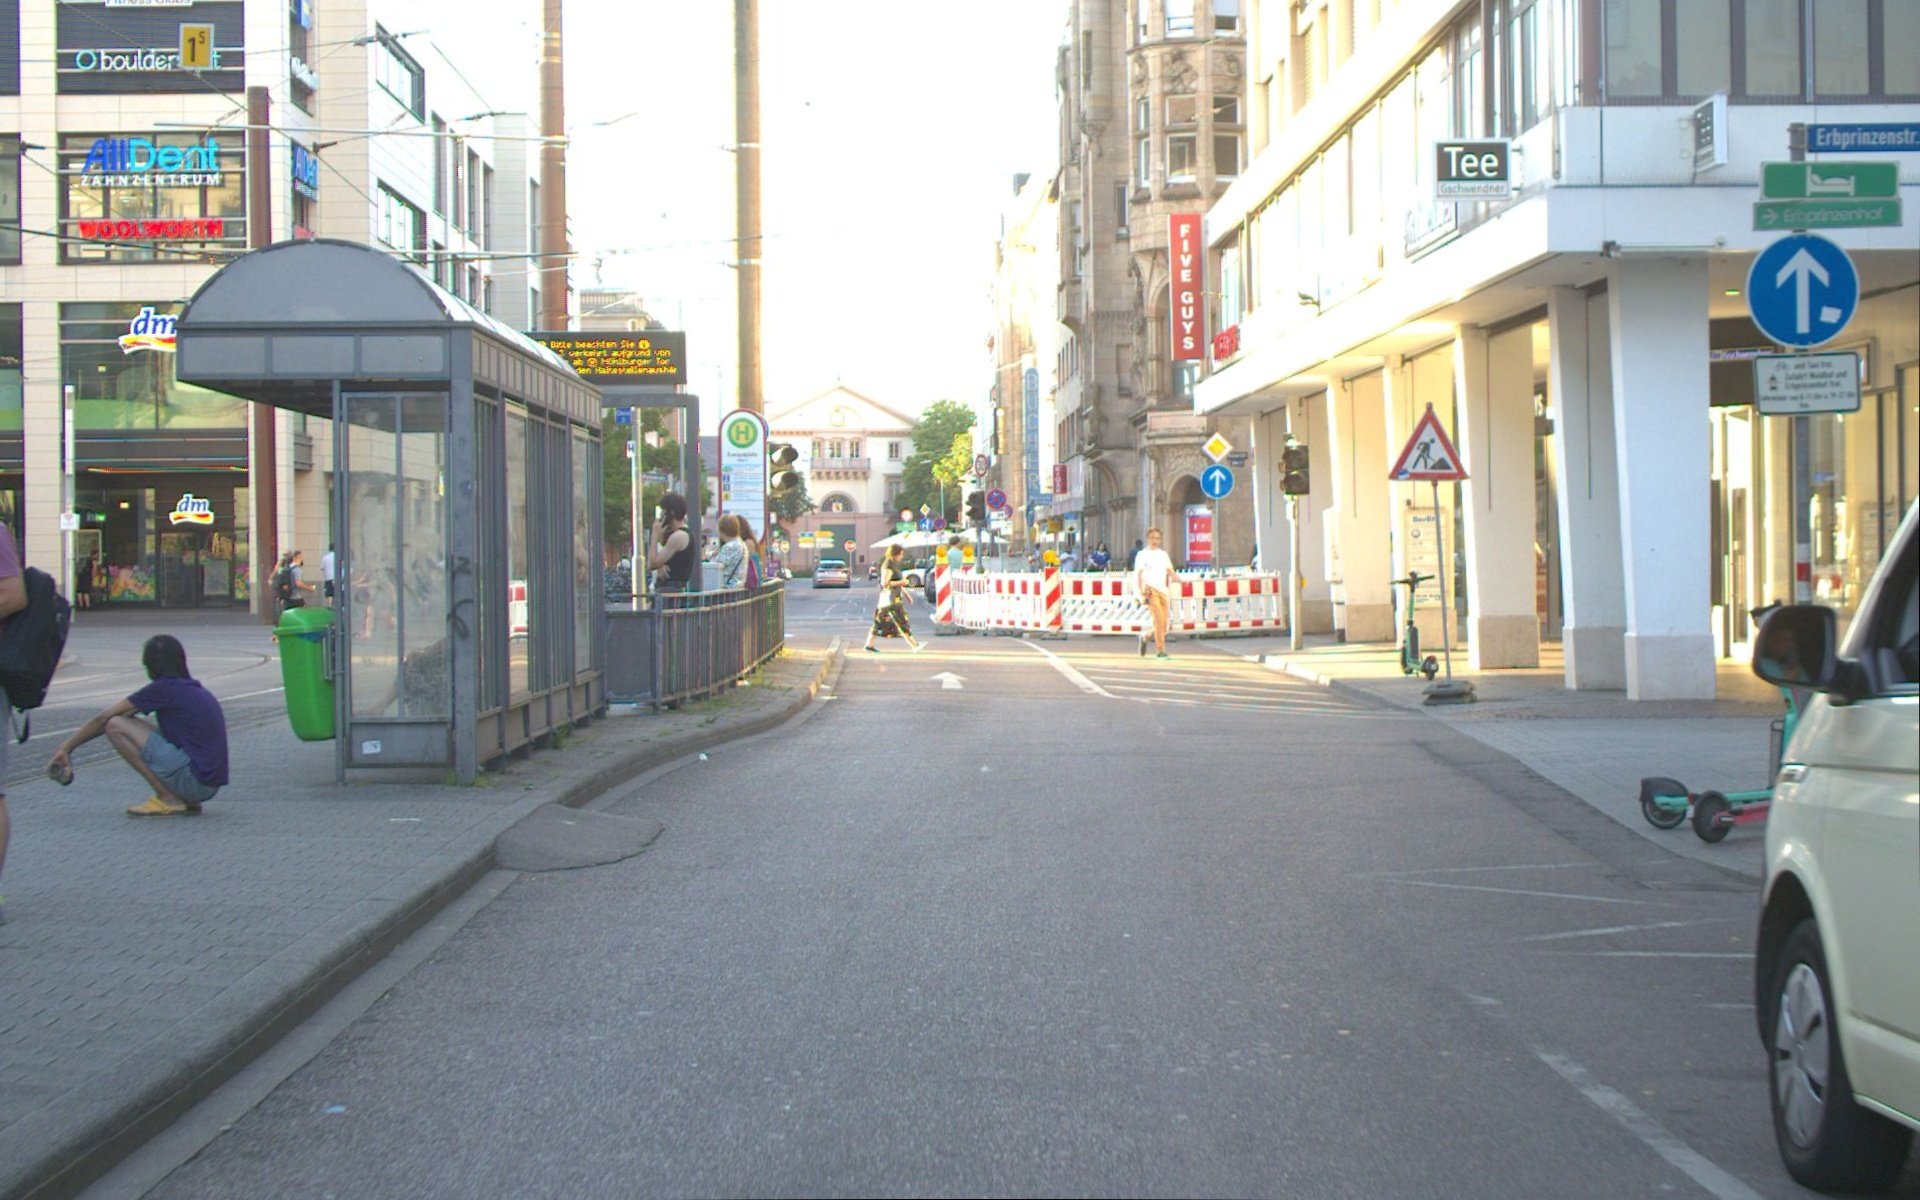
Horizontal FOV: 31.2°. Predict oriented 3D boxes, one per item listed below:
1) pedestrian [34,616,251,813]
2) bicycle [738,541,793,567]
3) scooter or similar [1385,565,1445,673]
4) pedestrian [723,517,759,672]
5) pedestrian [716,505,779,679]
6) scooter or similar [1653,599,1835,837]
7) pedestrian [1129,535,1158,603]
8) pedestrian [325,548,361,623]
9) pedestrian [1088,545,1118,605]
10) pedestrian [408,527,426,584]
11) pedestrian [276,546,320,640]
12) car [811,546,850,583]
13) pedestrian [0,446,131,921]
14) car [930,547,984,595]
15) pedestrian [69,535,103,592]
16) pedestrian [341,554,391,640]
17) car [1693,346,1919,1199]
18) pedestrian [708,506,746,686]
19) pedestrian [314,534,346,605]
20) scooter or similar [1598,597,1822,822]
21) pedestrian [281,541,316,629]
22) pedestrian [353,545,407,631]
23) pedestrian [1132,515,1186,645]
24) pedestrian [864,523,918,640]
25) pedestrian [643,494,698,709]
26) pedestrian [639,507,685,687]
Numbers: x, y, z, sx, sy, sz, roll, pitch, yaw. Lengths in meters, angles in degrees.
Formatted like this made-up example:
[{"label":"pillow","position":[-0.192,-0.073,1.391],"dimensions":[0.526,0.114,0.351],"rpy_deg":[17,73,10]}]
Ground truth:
[{"label":"pedestrian","position":[-4.060,0.555,17.090],"dimensions":[0.799,0.936,0.692],"rpy_deg":[0,1,22]},{"label":"bicycle","position":[-7.895,-1.874,139.557],"dimensions":[2.148,1.026,0.640],"rpy_deg":[-1,0,1]},{"label":"scooter or similar","position":[5.302,0.212,40.082],"dimensions":[0.505,1.230,1.180],"rpy_deg":[0,1,-2]},{"label":"pedestrian","position":[-2.338,-0.057,36.724],"dimensions":[0.357,1.636,0.503],"rpy_deg":[1,0,-3]},{"label":"pedestrian","position":[-2.173,-0.079,35.231],"dimensions":[0.539,1.761,0.594],"rpy_deg":[1,0,4]},{"label":"scooter or similar","position":[4.247,0.627,18.596],"dimensions":[1.044,1.230,0.272],"rpy_deg":[-2,0,-33]},{"label":"pedestrian","position":[4.585,-0.778,85.928],"dimensions":[0.625,1.684,0.671],"rpy_deg":[-1,0,-3]},{"label":"pedestrian","position":[-13.744,-0.328,76.599],"dimensions":[0.649,1.668,0.530],"rpy_deg":[0,1,7]},{"label":"pedestrian","position":[3.879,-0.672,93.141],"dimensions":[0.711,1.605,0.822],"rpy_deg":[1,0,-4]},{"label":"pedestrian","position":[-14.344,-1.171,90.838],"dimensions":[0.390,1.510,0.506],"rpy_deg":[0,0,-2]},{"label":"pedestrian","position":[-11.964,-0.128,62.126],"dimensions":[0.743,1.694,0.610],"rpy_deg":[0,0,-7]},{"label":"car","position":[-6.849,-1.883,182.300],"dimensions":[1.993,1.897,4.000],"rpy_deg":[1,0,-2]},{"label":"pedestrian","position":[-3.482,0.282,12.099],"dimensions":[0.687,1.632,0.859],"rpy_deg":[1,1,40]},{"label":"car","position":[-0.109,-0.974,116.217],"dimensions":[1.679,1.542,3.673],"rpy_deg":[-2,0,-2]},{"label":"pedestrian","position":[-23.510,-0.990,92.489],"dimensions":[0.573,1.521,0.790],"rpy_deg":[1,0,11]},{"label":"pedestrian","position":[-11.301,-0.060,65.396],"dimensions":[0.769,1.608,0.667],"rpy_deg":[-1,1,-26]},{"label":"car","position":[2.950,0.457,6.691],"dimensions":[1.876,1.917,4.700],"rpy_deg":[2,0,-1]},{"label":"pedestrian","position":[-2.334,-0.041,34.438],"dimensions":[0.341,1.789,0.544],"rpy_deg":[1,0,-3]},{"label":"pedestrian","position":[-16.606,-0.802,90.625],"dimensions":[0.573,1.848,0.816],"rpy_deg":[1,0,11]},{"label":"scooter or similar","position":[4.209,0.615,19.294],"dimensions":[1.176,1.230,0.316],"rpy_deg":[-2,0,15]},{"label":"pedestrian","position":[-12.063,-0.277,62.699],"dimensions":[0.569,1.587,0.448],"rpy_deg":[0,0,-7]},{"label":"pedestrian","position":[-10.934,-0.229,64.823],"dimensions":[0.821,1.608,0.693],"rpy_deg":[-1,1,-26]},{"label":"pedestrian","position":[2.818,-0.286,48.776],"dimensions":[0.699,1.809,0.852],"rpy_deg":[1,0,1]},{"label":"pedestrian","position":[-1.004,-0.273,50.014],"dimensions":[0.699,1.687,0.541],"rpy_deg":[1,0,-8]},{"label":"pedestrian","position":[-2.405,0.012,28.606],"dimensions":[0.412,1.761,0.594],"rpy_deg":[1,0,-3]},{"label":"pedestrian","position":[-2.737,-0.027,31.611],"dimensions":[0.385,1.636,0.549],"rpy_deg":[1,0,-3]}]
